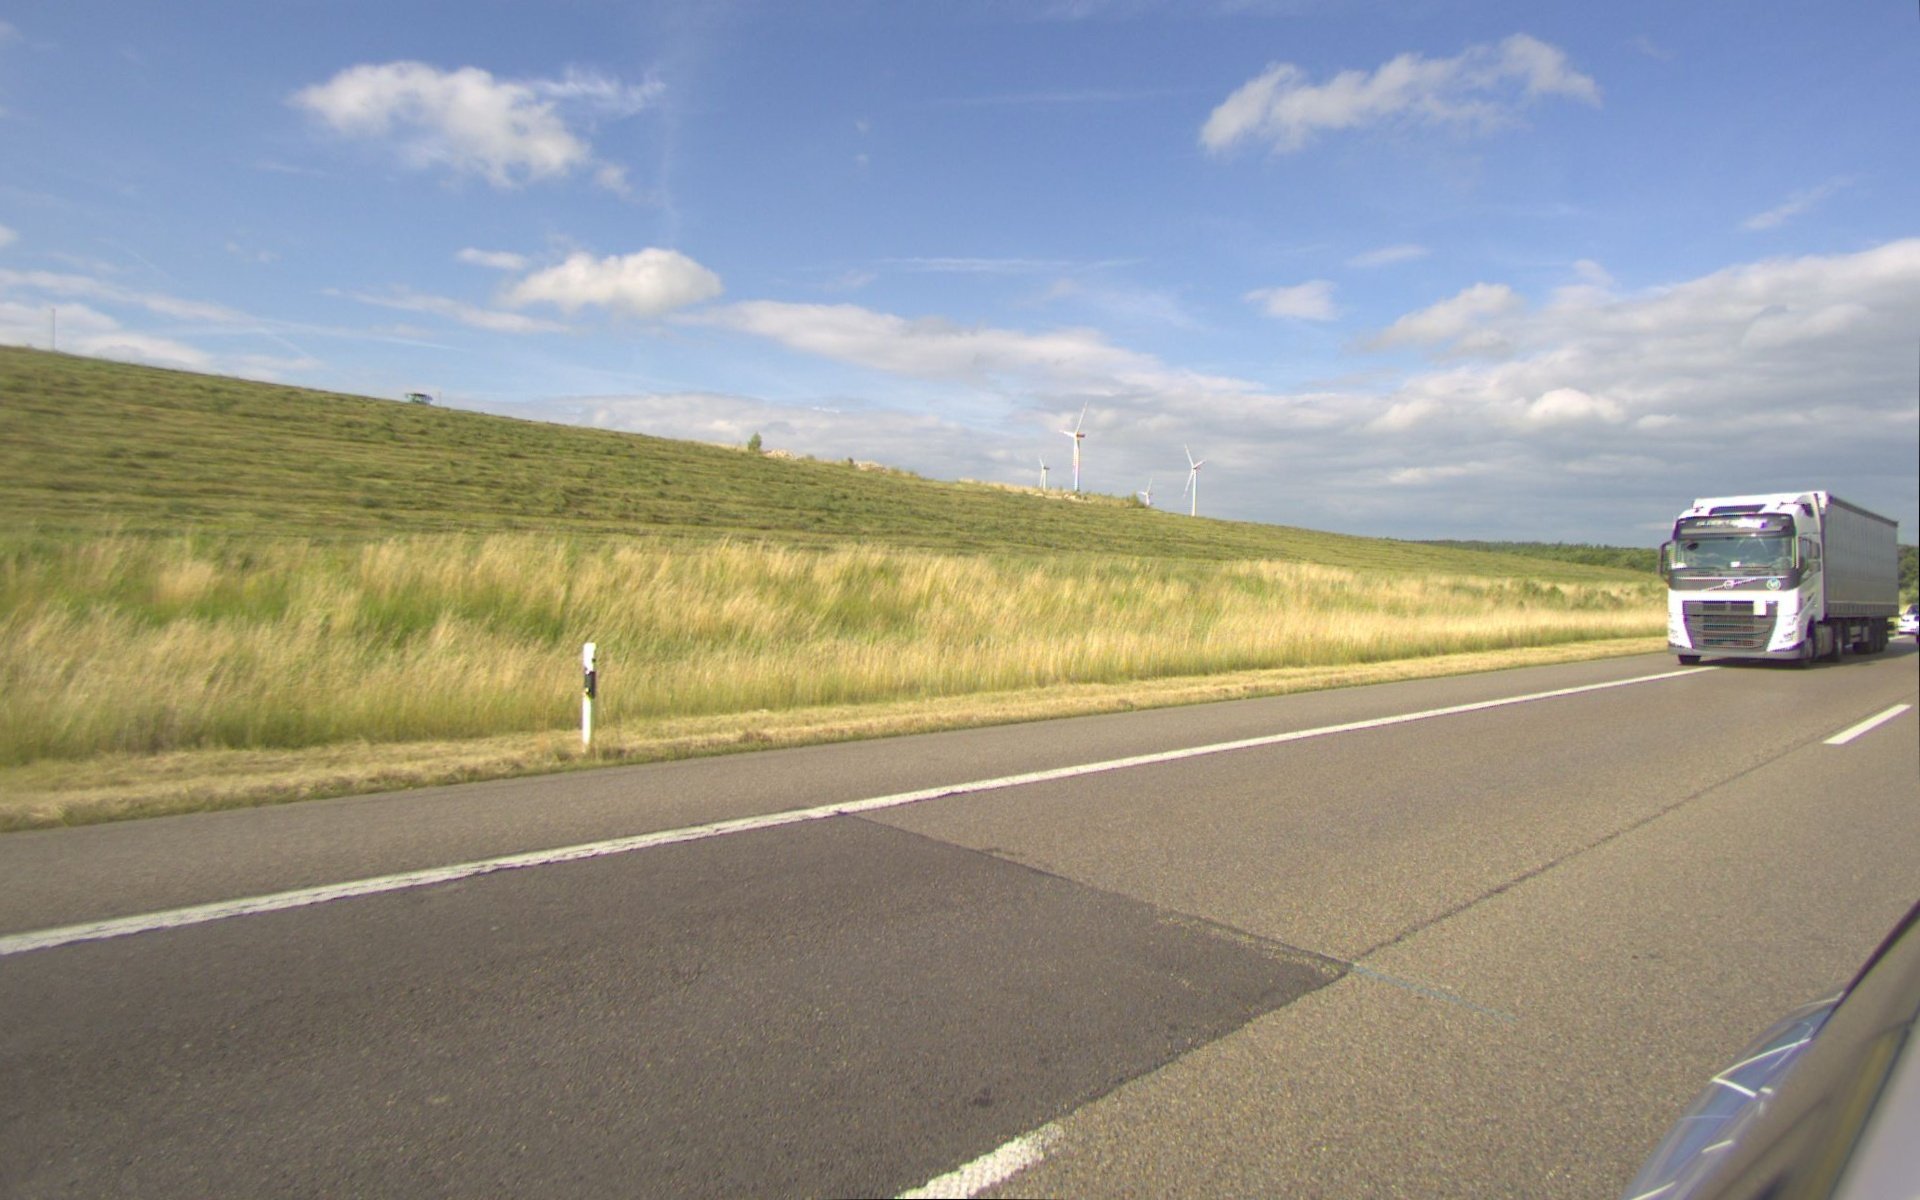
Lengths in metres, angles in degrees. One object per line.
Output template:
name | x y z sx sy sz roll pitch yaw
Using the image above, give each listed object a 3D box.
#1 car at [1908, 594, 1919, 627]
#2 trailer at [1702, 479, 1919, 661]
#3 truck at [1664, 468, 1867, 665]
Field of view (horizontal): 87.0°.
car | 44.472 0.448 45.800 4.384 1.435 1.870 -1 1 -41
trailer | 24.122 -0.670 28.219 13.458 4.091 2.621 0 0 -41
truck | 19.200 -0.701 24.011 6.010 4.091 2.606 1 0 -40
